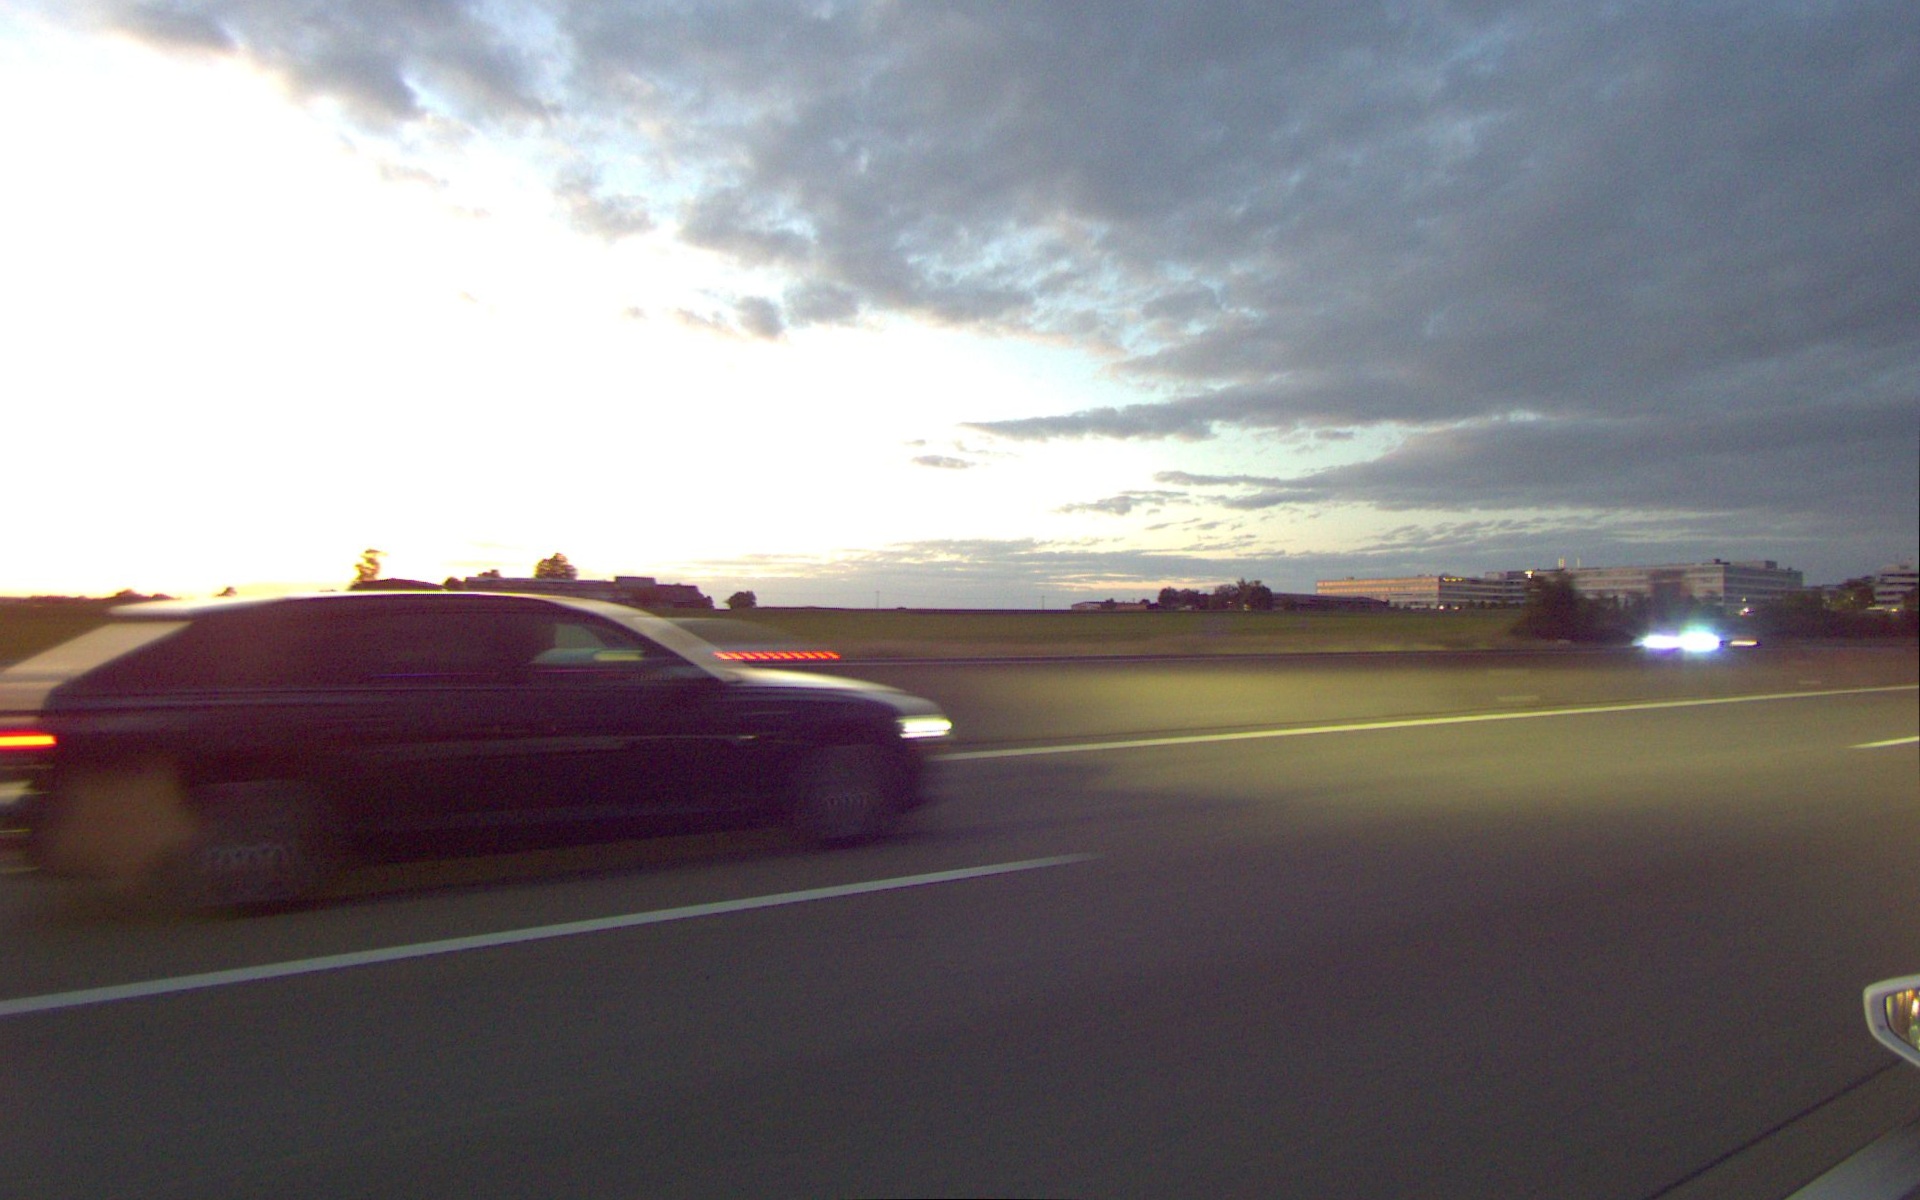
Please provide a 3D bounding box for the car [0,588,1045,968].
[{"bbox_3d":[-2.213,0.762,5.845,5.332,1.456,1.805,2,0,-31],"label":"car"}]

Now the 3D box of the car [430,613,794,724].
[{"bbox_3d":[-4.858,0.925,14.262,4.650,1.317,1.663,2,0,-30],"label":"car"}]

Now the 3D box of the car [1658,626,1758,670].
[{"bbox_3d":[35.078,2.246,47.096,4.900,1.871,1.984,2,0,-30],"label":"car"}]
